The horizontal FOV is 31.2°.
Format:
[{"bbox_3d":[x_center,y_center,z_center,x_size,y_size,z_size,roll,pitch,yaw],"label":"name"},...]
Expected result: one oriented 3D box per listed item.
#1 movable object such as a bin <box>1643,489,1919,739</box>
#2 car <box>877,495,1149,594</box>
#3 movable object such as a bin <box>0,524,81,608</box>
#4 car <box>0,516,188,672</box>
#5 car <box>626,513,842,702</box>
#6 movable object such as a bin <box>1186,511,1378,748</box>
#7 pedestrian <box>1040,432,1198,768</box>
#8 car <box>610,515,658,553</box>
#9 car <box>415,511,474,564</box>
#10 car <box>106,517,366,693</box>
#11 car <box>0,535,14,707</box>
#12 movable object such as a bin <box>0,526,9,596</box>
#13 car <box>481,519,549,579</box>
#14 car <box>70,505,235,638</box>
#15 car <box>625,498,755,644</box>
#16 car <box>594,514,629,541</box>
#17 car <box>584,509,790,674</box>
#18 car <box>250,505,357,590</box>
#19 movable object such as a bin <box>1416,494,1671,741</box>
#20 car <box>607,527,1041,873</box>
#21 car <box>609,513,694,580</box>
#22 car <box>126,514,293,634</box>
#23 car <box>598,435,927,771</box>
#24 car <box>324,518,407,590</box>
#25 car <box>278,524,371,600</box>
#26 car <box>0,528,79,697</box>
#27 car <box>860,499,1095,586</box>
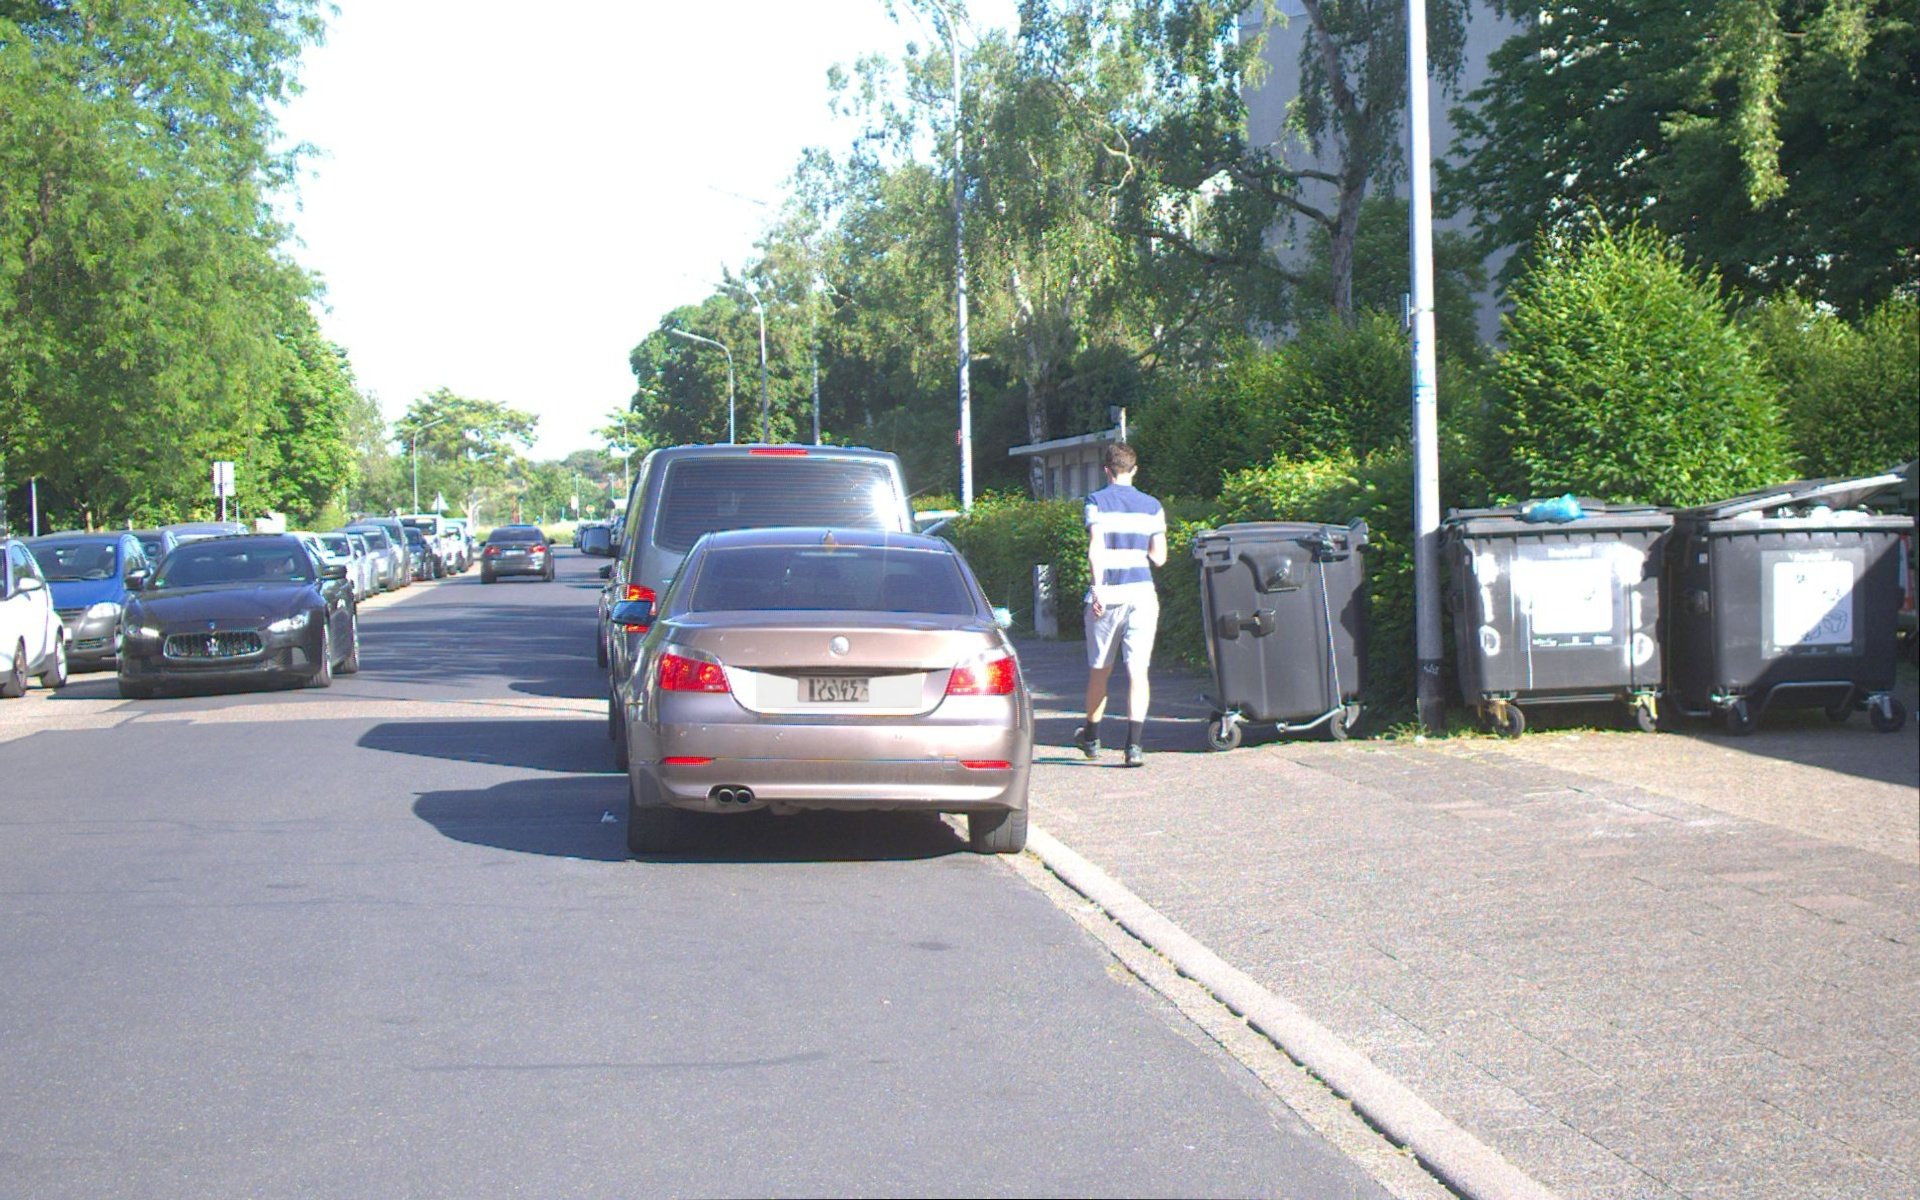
[{"bbox_3d":[4.690,0.062,19.686,1.276,1.360,1.133,-1,1,-2],"label":"movable object such as a bin"},{"bbox_3d":[0.891,-0.980,59.533,4.513,1.508,1.829,-2,2,-4],"label":"car"},{"bbox_3d":[-15.635,-0.590,58.362,1.136,1.378,1.442,1,1,-4],"label":"movable object such as a bin"},{"bbox_3d":[-10.038,-0.106,39.313,1.754,1.600,3.969,-4,2,-5],"label":"car"},{"bbox_3d":[-1.967,0.009,29.044,1.622,1.484,4.037,0,1,-7],"label":"car"},{"bbox_3d":[1.937,0.157,20.806,1.026,1.305,1.387,-4,2,5],"label":"movable object such as a bin"},{"bbox_3d":[0.919,-0.011,20.065,0.703,1.882,0.872,-4,2,-5],"label":"pedestrian"},{"bbox_3d":[-13.479,-2.743,142.008,1.795,1.556,3.953,-1,1,-8],"label":"car"},{"bbox_3d":[-17.708,-2.154,118.324,1.746,1.726,4.006,-3,2,-6],"label":"car"},{"bbox_3d":[-6.777,-0.014,32.620,1.910,1.471,4.572,-2,2,-6],"label":"car"},{"bbox_3d":[-8.971,0.272,27.905,1.754,1.475,4.539,-4,2,-7],"label":"car"},{"bbox_3d":[-19.939,-0.797,69.441,1.134,1.416,1.361,1,1,-4],"label":"movable object such as a bin"},{"bbox_3d":[-11.531,-1.347,88.978,1.679,1.508,4.105,0,1,-8],"label":"car"},{"bbox_3d":[-10.470,-0.400,44.760,1.635,1.600,3.536,-3,2,-7],"label":"car"},{"bbox_3d":[-3.295,-0.369,41.717,1.488,1.712,2.584,0,1,-6],"label":"car"},{"bbox_3d":[-19.962,-4.164,196.931,1.795,1.543,3.953,-1,1,-8],"label":"car"},{"bbox_3d":[-2.817,-0.135,34.666,1.731,1.484,4.502,-2,2,-8],"label":"car"},{"bbox_3d":[-12.752,-1.042,66.942,1.686,1.529,3.892,-3,2,-6],"label":"car"},{"bbox_3d":[3.367,0.085,19.956,1.223,1.360,1.133,-1,1,-2],"label":"movable object such as a bin"},{"bbox_3d":[-0.735,0.367,16.661,1.801,1.414,4.637,0,1,-4],"label":"car"},{"bbox_3d":[-7.222,-1.257,80.122,1.753,1.508,4.105,0,1,-8],"label":"car"},{"bbox_3d":[-11.186,-0.428,51.485,1.903,1.634,4.350,-2,2,-6],"label":"car"},{"bbox_3d":[-1.381,-0.037,22.163,1.852,1.927,4.706,0,1,-7],"label":"car"},{"bbox_3d":[-14.382,-1.136,83.332,1.709,1.595,3.987,-4,2,-7],"label":"car"},{"bbox_3d":[-13.388,-0.823,72.578,1.686,1.500,3.819,-2,2,-7],"label":"car"},{"bbox_3d":[-9.682,0.122,33.859,1.444,1.568,3.143,-4,2,-7],"label":"car"},{"bbox_3d":[0.314,-1.141,67.722,4.414,1.508,1.829,-2,2,-5],"label":"car"}]
